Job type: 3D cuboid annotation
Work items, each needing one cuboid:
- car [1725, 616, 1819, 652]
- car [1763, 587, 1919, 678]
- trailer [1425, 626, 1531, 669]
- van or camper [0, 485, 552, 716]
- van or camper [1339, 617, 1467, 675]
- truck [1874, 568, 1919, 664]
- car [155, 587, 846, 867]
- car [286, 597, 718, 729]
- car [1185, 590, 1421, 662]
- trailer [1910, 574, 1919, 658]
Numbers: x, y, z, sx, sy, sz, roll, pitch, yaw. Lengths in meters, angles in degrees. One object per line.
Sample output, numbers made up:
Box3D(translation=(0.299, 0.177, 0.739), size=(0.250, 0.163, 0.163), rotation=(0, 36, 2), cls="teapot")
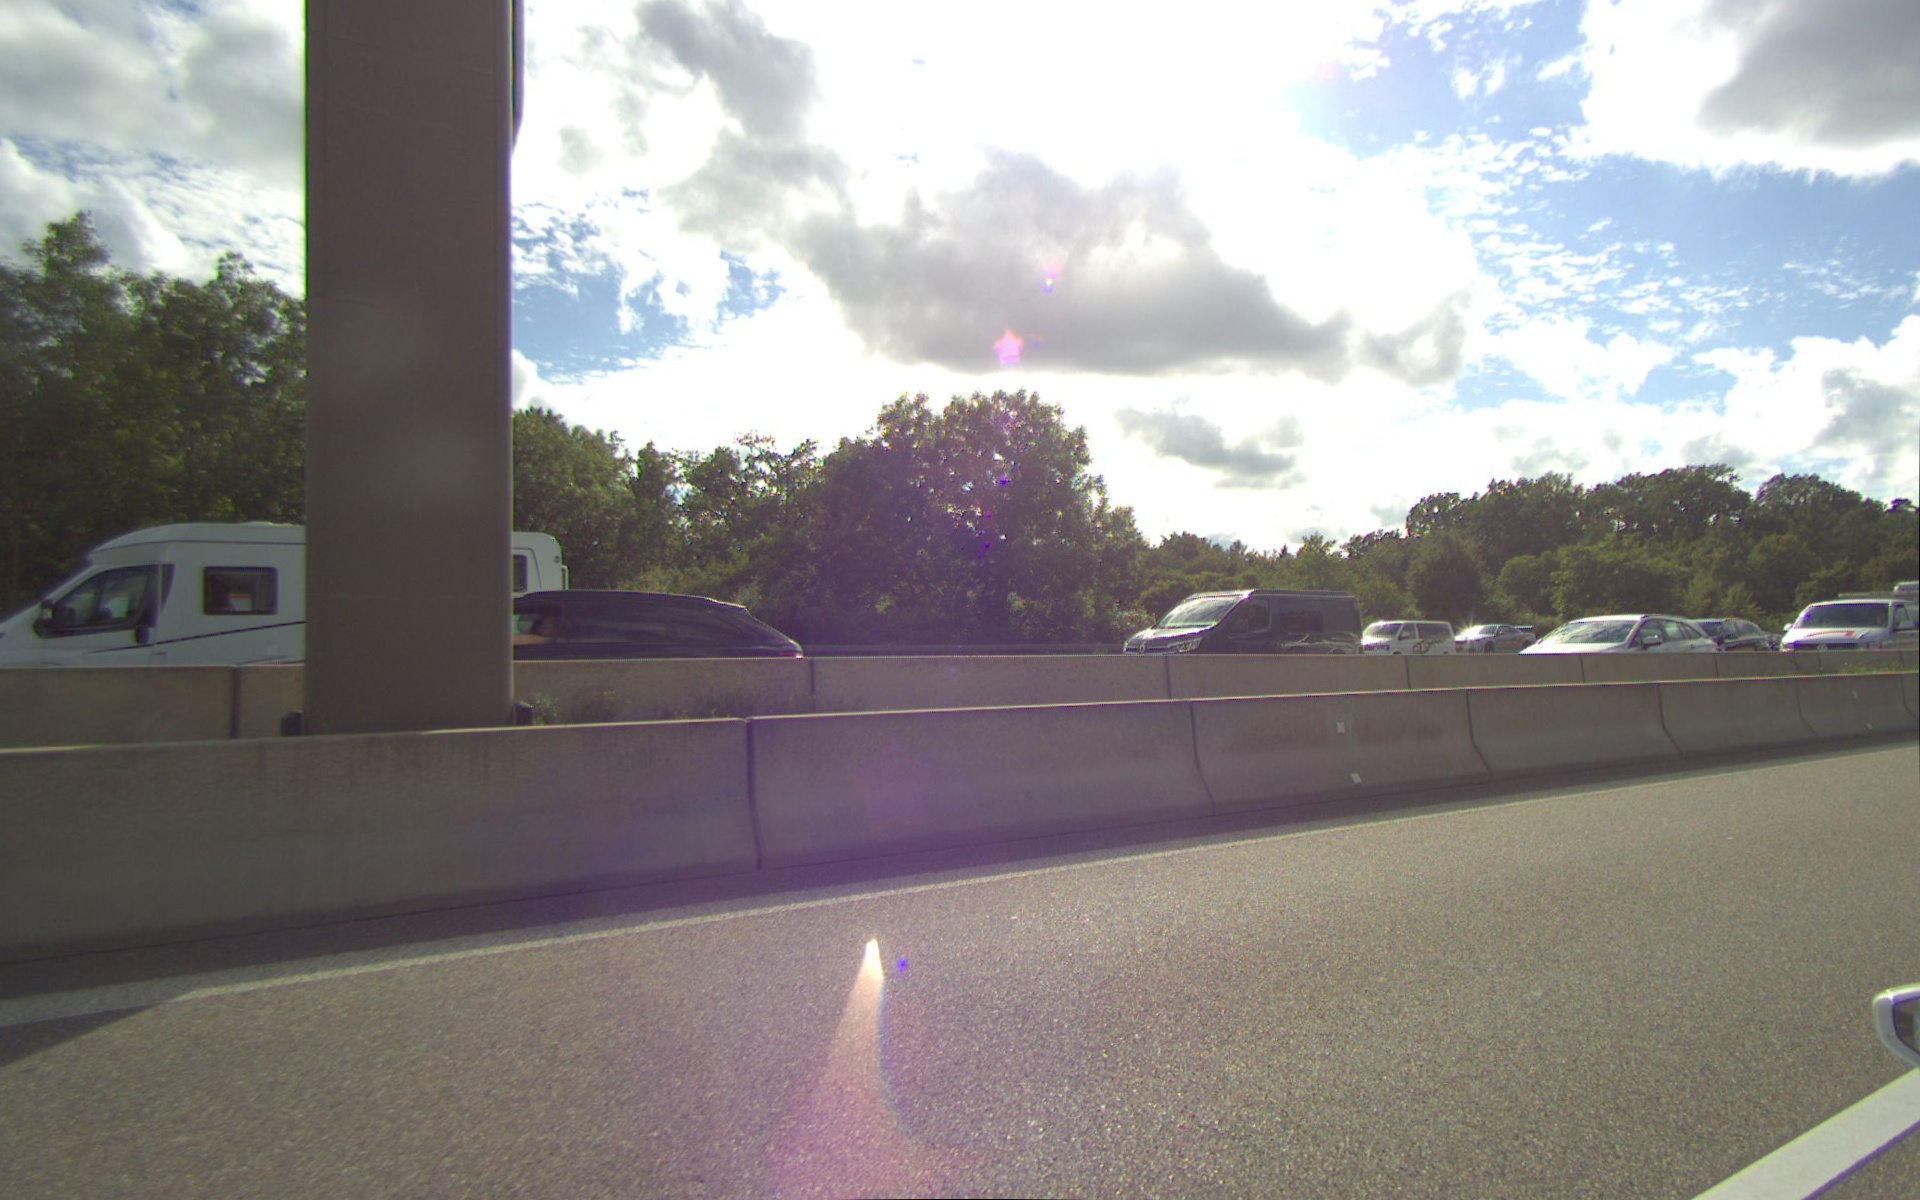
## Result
Box3D(translation=(36.625, 1.525, 45.282), size=(4.357, 1.519, 1.881), rotation=(1, 0, -30), cls="car")
Box3D(translation=(19.932, 0.688, 22.206), size=(4.130, 1.825, 2.076), rotation=(1, 0, -31), cls="car")
Box3D(translation=(21.119, 1.953, 40.897), size=(4.299, 1.600, 1.817), rotation=(2, -1, -30), cls="trailer")
Box3D(translation=(-9.708, 0.081, 13.810), size=(7.310, 2.678, 2.314), rotation=(2, -1, -30), cls="van or camper")
Box3D(translation=(17.003, 1.772, 38.476), size=(5.016, 2.060, 1.851), rotation=(2, -1, -30), cls="van or camper")
Box3D(translation=(45.560, 0.769, 46.739), size=(5.645, 4.291, 2.839), rotation=(1, 0, -30), cls="truck")
Box3D(translation=(-3.577, 0.873, 8.569), size=(4.881, 1.822, 1.758), rotation=(1, 0, -31), cls="car")
Box3D(translation=(-5.346, 0.695, 12.102), size=(4.484, 1.341, 1.555), rotation=(1, 0, -31), cls="car")
Box3D(translation=(6.628, 0.496, 19.286), size=(4.514, 1.247, 1.823), rotation=(2, 0, -31), cls="car")
Box3D(translation=(53.713, 1.068, 51.669), size=(15.822, 4.027, 2.816), rotation=(2, 0, -31), cls="trailer")
